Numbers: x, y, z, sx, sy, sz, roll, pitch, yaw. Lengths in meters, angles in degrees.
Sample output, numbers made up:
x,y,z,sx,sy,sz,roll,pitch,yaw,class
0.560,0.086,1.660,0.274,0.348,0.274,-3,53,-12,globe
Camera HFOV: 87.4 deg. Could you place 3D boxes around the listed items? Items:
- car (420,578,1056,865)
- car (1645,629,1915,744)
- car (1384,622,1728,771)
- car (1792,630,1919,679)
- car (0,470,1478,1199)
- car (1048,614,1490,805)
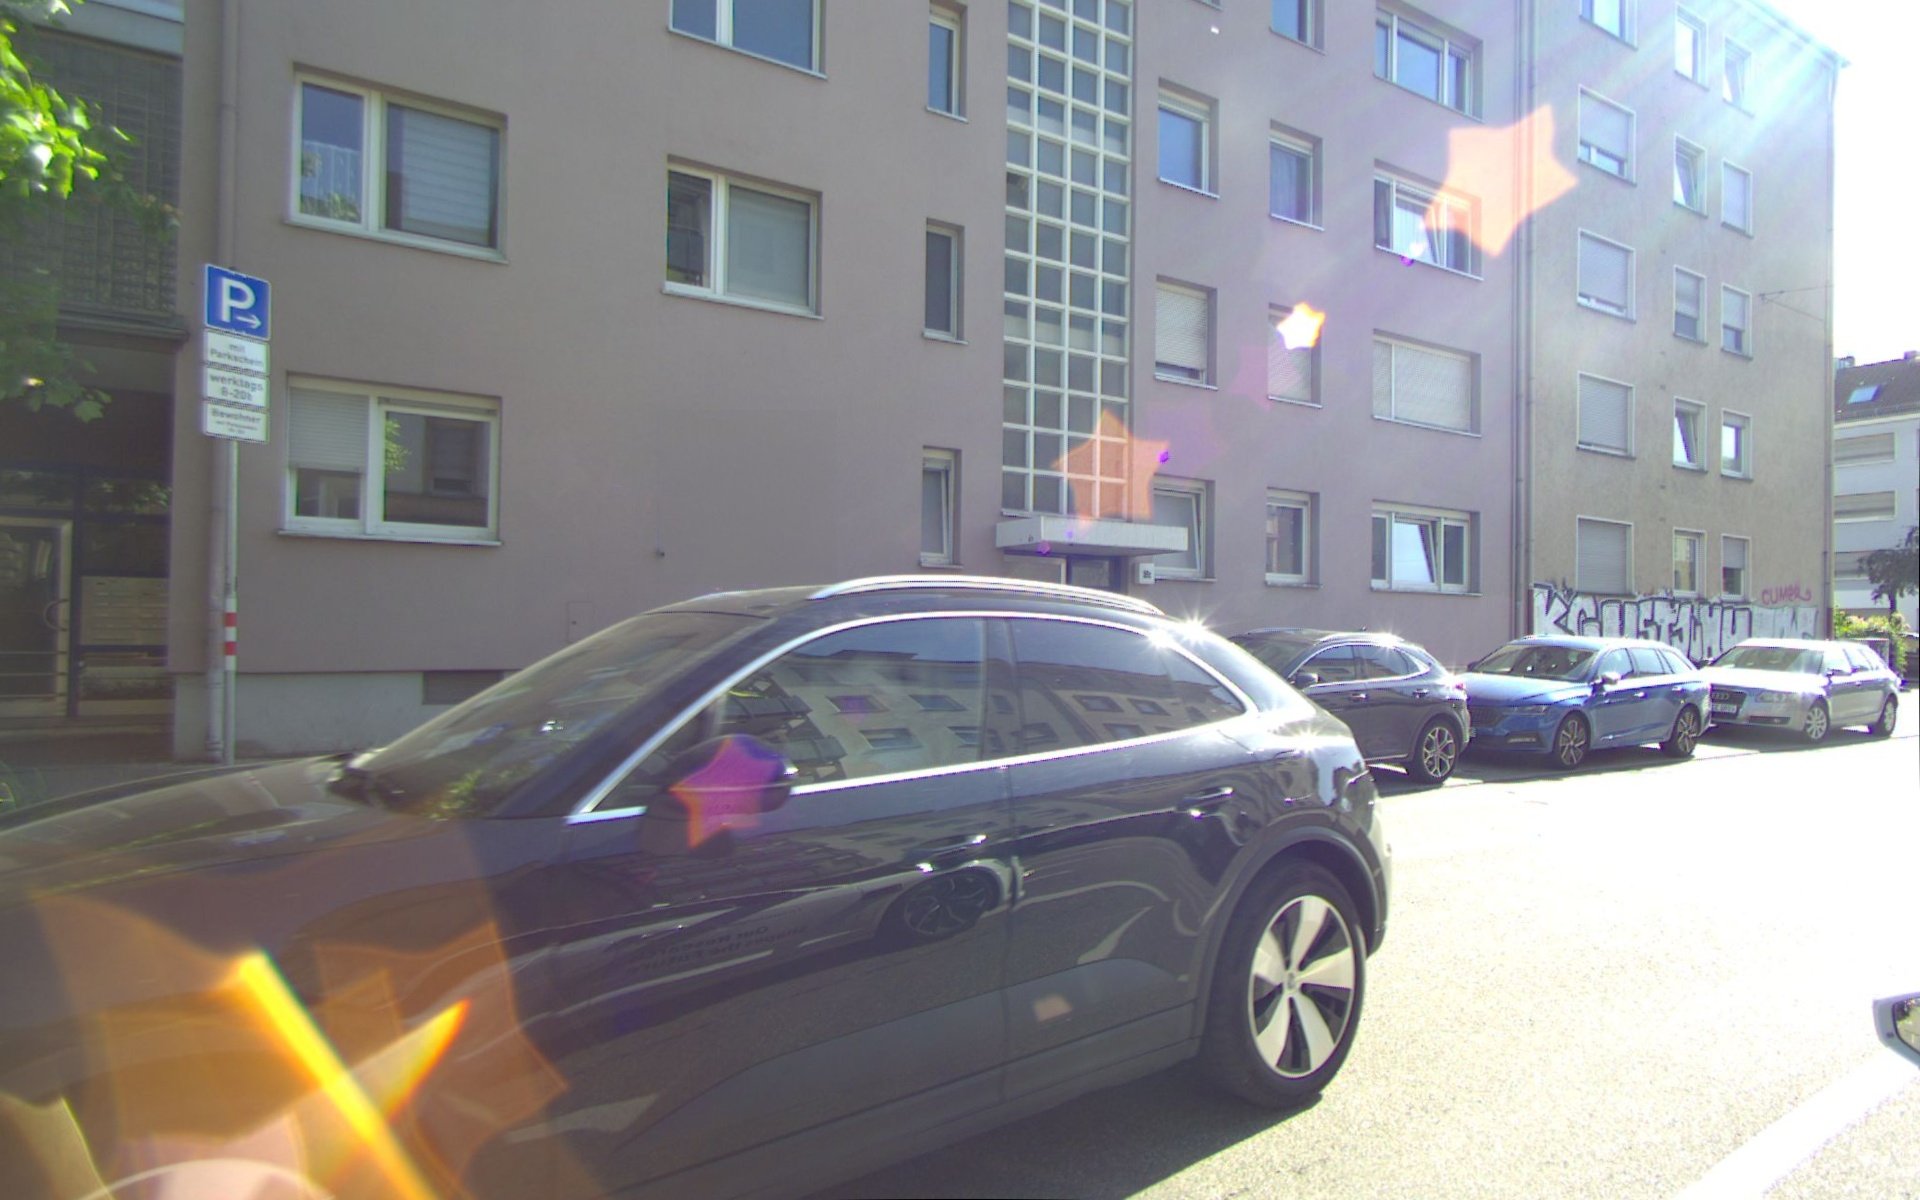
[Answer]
x,y,z,sx,sy,sz,roll,pitch,yaw,class
-1.600,0.737,7.580,4.312,1.627,1.868,2,0,-29,car
13.067,1.300,15.932,4.705,1.489,1.768,2,1,-31,car
7.655,1.125,12.788,4.572,1.517,1.712,2,2,-30,car
33.159,1.975,36.706,1.527,1.647,3.964,2,-1,-32,car
-0.381,0.697,3.229,4.384,1.635,1.854,2,-1,-36,car
3.226,1.007,10.422,4.176,1.517,1.985,2,2,-28,car
